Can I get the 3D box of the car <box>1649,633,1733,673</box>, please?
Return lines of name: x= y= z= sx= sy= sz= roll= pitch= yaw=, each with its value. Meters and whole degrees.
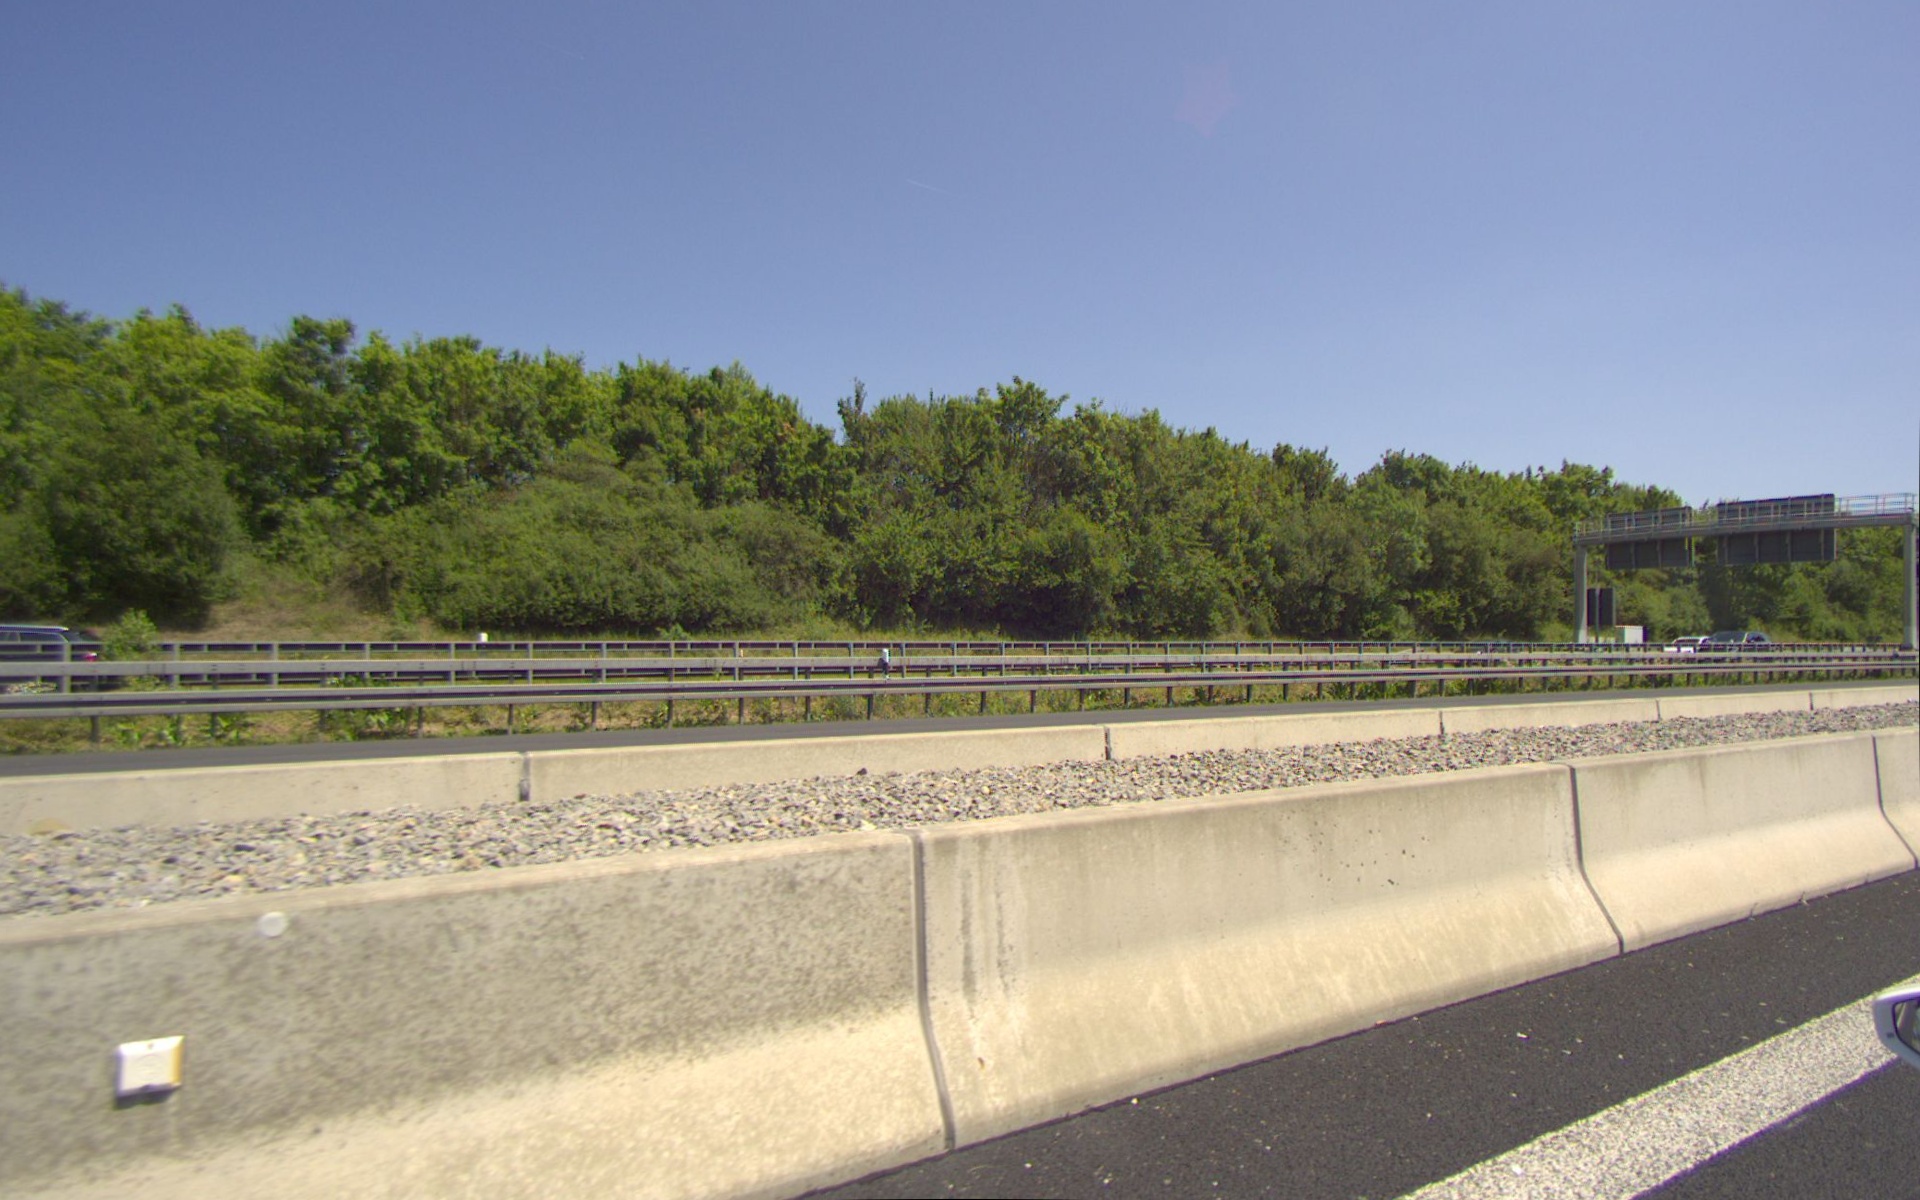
car: x=40.881 y=2.961 z=56.151 sx=4.705 sy=2.040 sz=1.938 roll=2 pitch=0 yaw=-28

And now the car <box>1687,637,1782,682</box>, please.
car: x=38.571 y=2.961 z=50.008 sx=4.705 sy=2.040 sz=1.938 roll=2 pitch=0 yaw=-28

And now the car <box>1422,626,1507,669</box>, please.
car: x=25.955 y=2.452 z=51.627 sx=3.971 sy=2.040 sz=1.938 roll=2 pitch=0 yaw=-28

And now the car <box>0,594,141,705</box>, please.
car: x=-17.591 y=0.827 z=17.379 sx=4.978 sy=1.882 sz=1.984 roll=2 pitch=-1 yaw=-30
